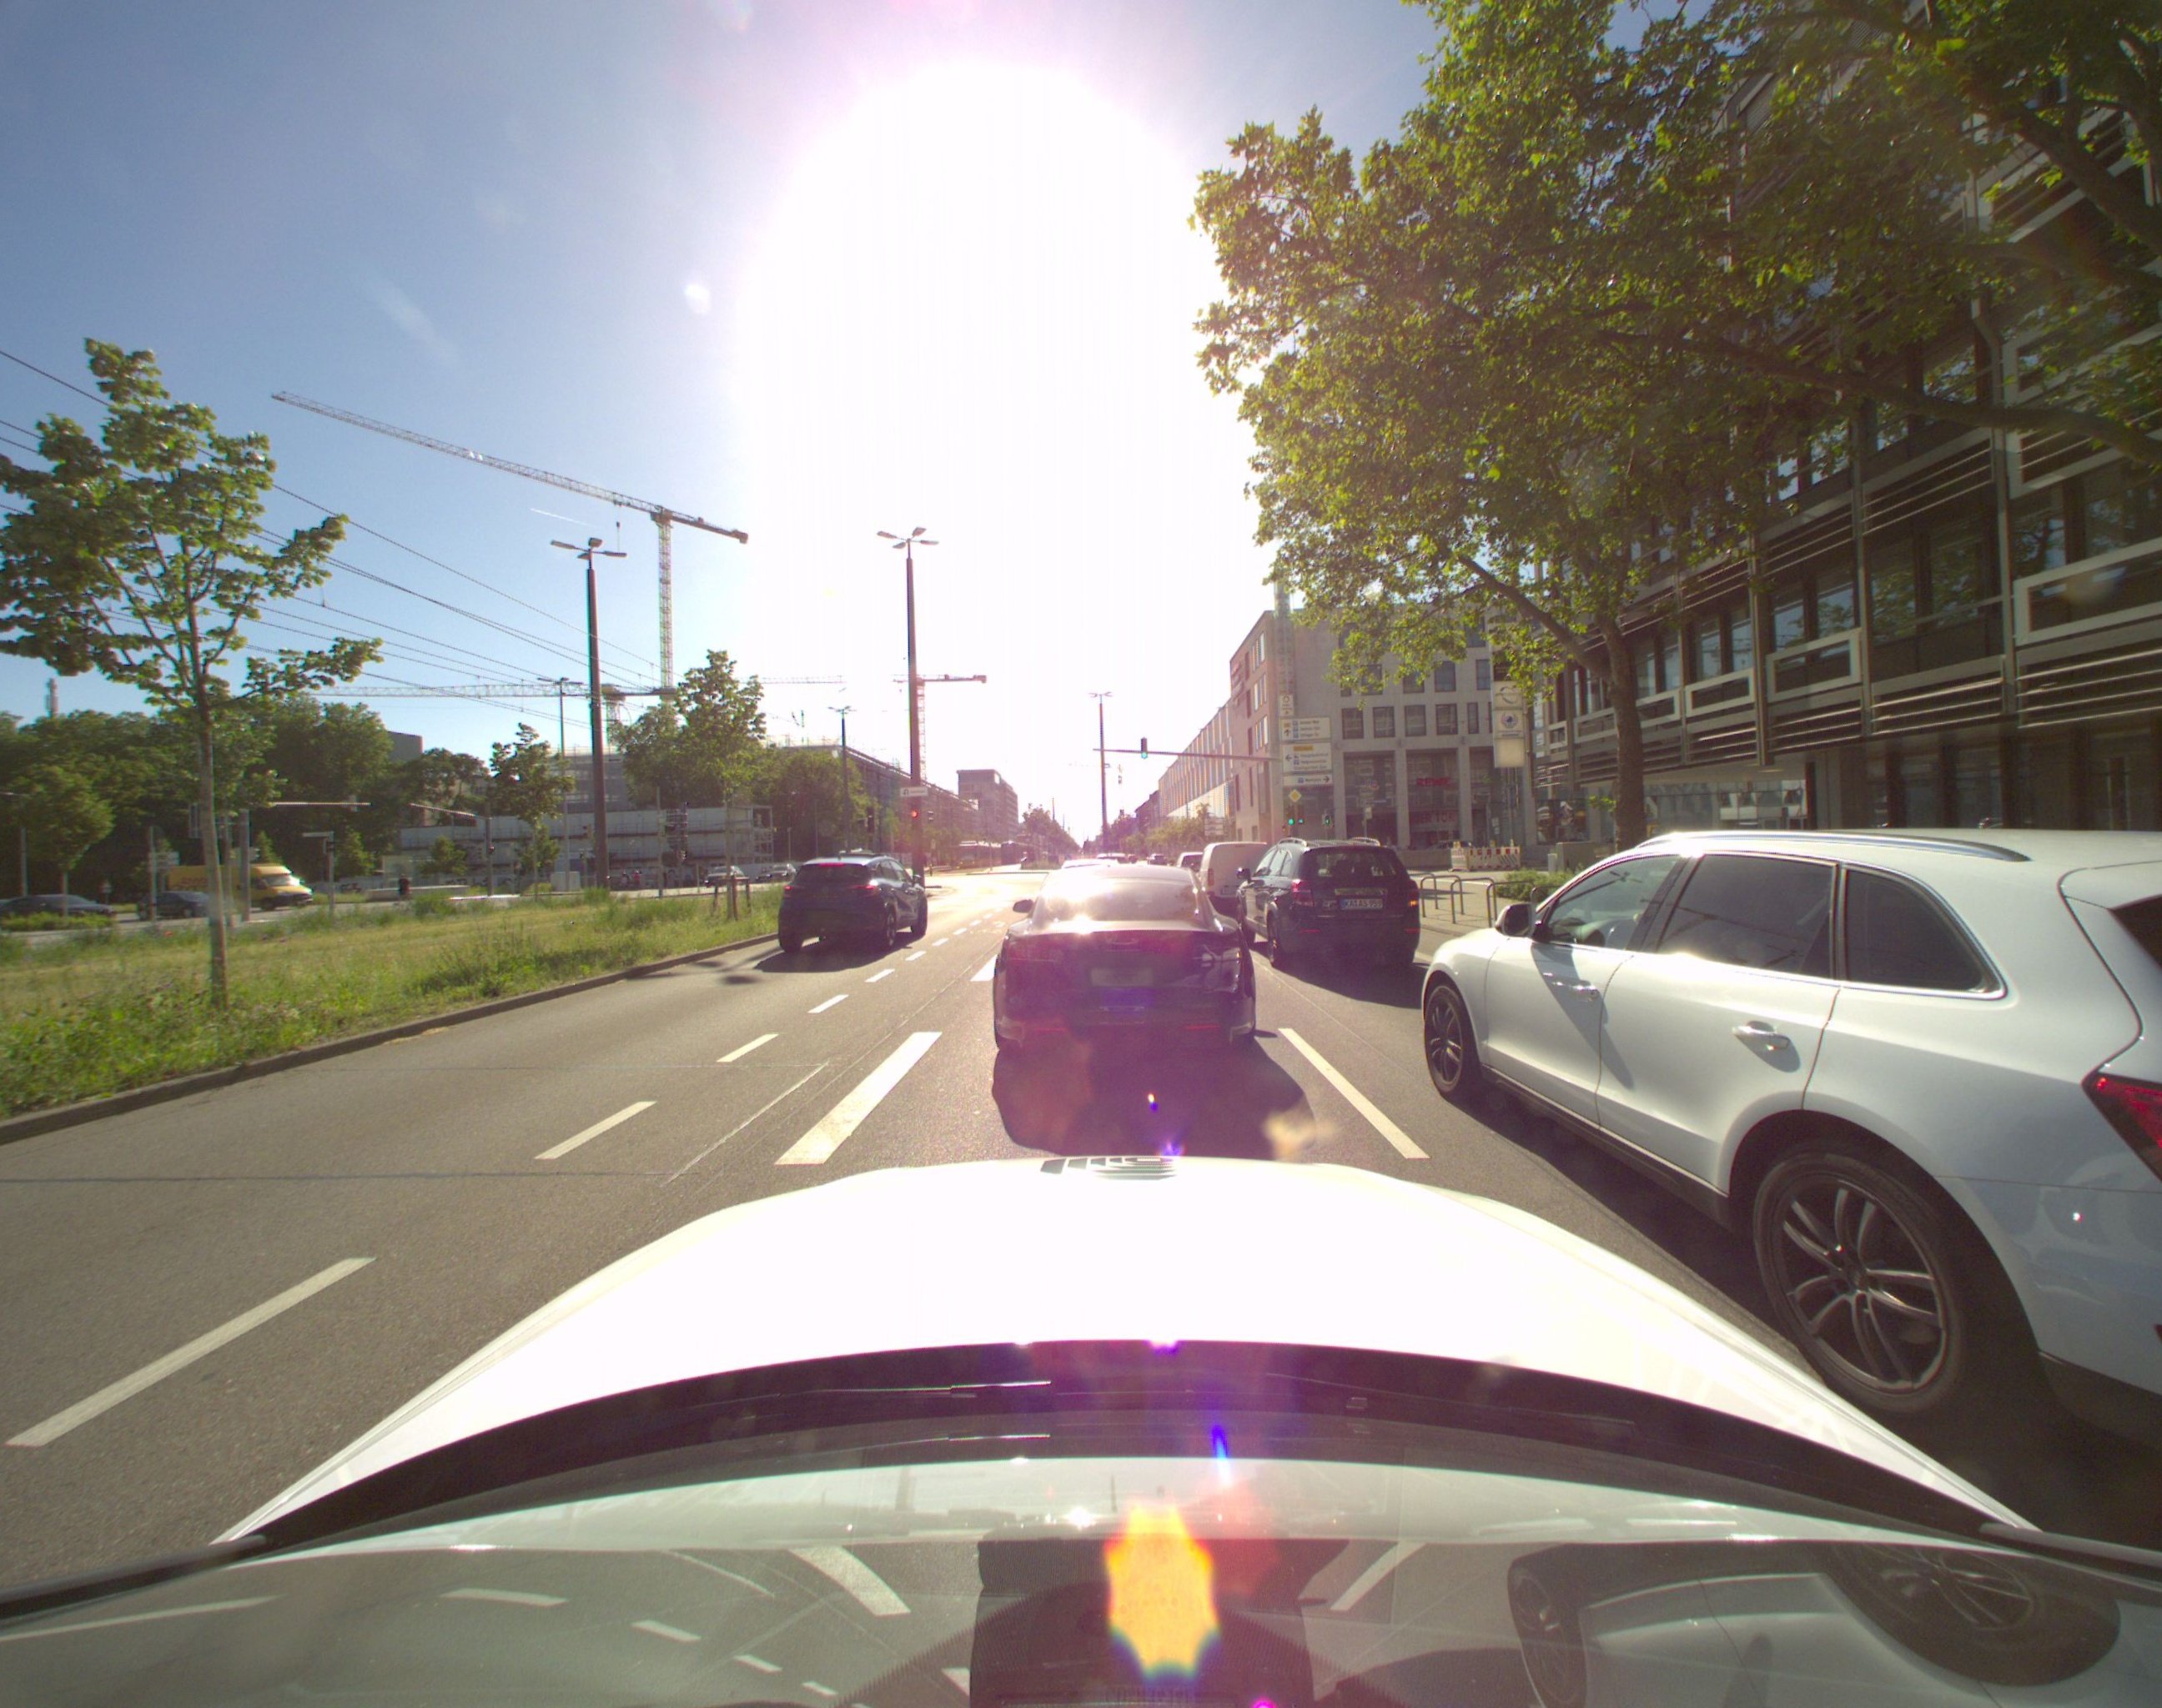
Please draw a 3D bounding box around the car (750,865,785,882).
[{"bbox_3d":[-32.647,1.986,84.961,1.986,1.601,4.001,-2,0,1],"label":"car"}]

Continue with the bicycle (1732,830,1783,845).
[{"bbox_3d":[50.753,-1.226,61.139,1.061,1.094,3.501,-2,0,4],"label":"bicycle"}]

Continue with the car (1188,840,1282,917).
[{"bbox_3d":[3.877,0.561,21.145,1.777,1.733,4.165,-2,0,2],"label":"car"}]

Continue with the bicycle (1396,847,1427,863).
[{"bbox_3d":[25.393,0.069,62.645,1.061,1.094,3.500,-2,0,3],"label":"bicycle"}]

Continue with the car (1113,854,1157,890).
[{"bbox_3d":[2.211,0.717,34.236,1.710,1.320,4.002,-2,0,2],"label":"car"}]

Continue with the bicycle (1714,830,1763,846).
[{"bbox_3d":[49.130,-1.156,60.925,1.061,1.094,3.501,-2,0,4],"label":"bicycle"}]

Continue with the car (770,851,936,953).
[{"bbox_3d":[-3.922,0.746,14.758,1.764,1.588,4.089,0,0,1],"label":"car"}]

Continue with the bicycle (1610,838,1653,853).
[{"bbox_3d":[41.676,-0.649,61.693,1.061,1.094,3.501,-2,0,4],"label":"bicycle"}]

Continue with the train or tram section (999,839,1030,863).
[{"bbox_3d":[-9.455,-0.415,117.392,2.860,3.279,15.187,0,0,1],"label":"train or tram section"}]

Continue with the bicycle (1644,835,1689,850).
[{"bbox_3d":[44.257,-0.847,61.585,1.061,1.094,3.501,-2,0,4],"label":"bicycle"}]

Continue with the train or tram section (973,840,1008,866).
[{"bbox_3d":[-12.557,-0.038,114.719,2.838,3.321,15.967,0,-1,1],"label":"train or tram section"}]

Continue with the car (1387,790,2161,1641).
[{"bbox_3d":[3.016,0.649,3.565,1.812,1.613,4.415,-2,0,2],"label":"car"}]

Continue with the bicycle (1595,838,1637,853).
[{"bbox_3d":[40.504,-0.631,61.769,1.061,1.094,3.501,-2,0,4],"label":"bicycle"}]

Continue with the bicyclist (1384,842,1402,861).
[{"bbox_3d":[22.852,-0.189,59.750,0.928,1.396,1.078,-2,0,5],"label":"bicyclist"}]

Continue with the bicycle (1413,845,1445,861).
[{"bbox_3d":[26.668,-0.082,62.505,1.061,1.094,3.500,-2,0,3],"label":"bicycle"}]

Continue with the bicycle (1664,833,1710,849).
[{"bbox_3d":[45.601,-0.955,61.371,1.061,1.094,3.501,-2,0,4],"label":"bicycle"}]

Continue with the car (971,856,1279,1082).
[{"bbox_3d":[0.374,0.765,7.556,1.991,1.434,4.415,-1,0,2],"label":"car"}]

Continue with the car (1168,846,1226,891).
[{"bbox_3d":[4.374,0.502,31.265,1.777,1.546,4.041,-2,0,2],"label":"car"}]

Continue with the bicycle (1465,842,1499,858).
[{"bbox_3d":[30.536,-0.305,62.128,1.061,1.094,3.501,-2,0,4],"label":"bicycle"}]

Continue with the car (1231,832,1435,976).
[{"bbox_3d":[3.443,0.589,12.041,1.777,1.699,4.415,-2,0,2],"label":"car"}]

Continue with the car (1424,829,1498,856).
[{"bbox_3d":[25.871,-0.760,55.587,4.167,1.613,1.862,-2,-2,3],"label":"car"}]

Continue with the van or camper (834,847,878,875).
[{"bbox_3d":[-24.512,0.730,89.055,2.597,2.937,7.340,-2,0,0],"label":"van or camper"}]

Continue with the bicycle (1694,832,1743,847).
[{"bbox_3d":[47.998,-1.065,61.384,1.061,1.094,3.501,-2,0,4],"label":"bicycle"}]

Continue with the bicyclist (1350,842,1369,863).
[{"bbox_3d":[20.416,-0.106,59.673,1.017,1.476,1.073,-2,0,5],"label":"bicyclist"}]

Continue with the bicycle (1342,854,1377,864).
[{"bbox_3d":[20.393,0.364,59.662,2.183,0.671,1.073,-2,0,4],"label":"bicycle"}]

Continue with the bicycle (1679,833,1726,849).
[{"bbox_3d":[46.830,-0.979,61.412,1.061,1.094,3.501,-2,0,4],"label":"bicycle"}]

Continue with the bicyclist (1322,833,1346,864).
[{"bbox_3d":[12.445,-0.282,40.141,0.878,1.477,0.884,-2,0,1],"label":"bicyclist"}]

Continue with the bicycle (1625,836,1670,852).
[{"bbox_3d":[42.829,-0.748,61.637,1.061,1.094,3.501,-2,0,4],"label":"bicycle"}]

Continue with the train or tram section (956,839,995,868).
[{"bbox_3d":[-12.805,-0.099,100.222,2.860,3.309,13.074,0,0,1],"label":"train or tram section"}]

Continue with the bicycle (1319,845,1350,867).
[{"bbox_3d":[12.449,0.092,40.031,0.878,0.984,2.051,-2,0,1],"label":"bicycle"}]

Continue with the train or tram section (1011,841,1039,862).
[{"bbox_3d":[-9.120,-0.402,136.030,2.860,3.279,22.146,0,0,1],"label":"train or tram section"}]

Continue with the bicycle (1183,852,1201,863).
[{"bbox_3d":[13.141,0.450,96.680,2.074,1.205,0.952,-3,-1,7],"label":"bicycle"}]

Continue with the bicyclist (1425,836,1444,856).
[{"bbox_3d":[25.841,-0.593,59.604,0.928,1.433,1.042,-2,0,4],"label":"bicyclist"}]
